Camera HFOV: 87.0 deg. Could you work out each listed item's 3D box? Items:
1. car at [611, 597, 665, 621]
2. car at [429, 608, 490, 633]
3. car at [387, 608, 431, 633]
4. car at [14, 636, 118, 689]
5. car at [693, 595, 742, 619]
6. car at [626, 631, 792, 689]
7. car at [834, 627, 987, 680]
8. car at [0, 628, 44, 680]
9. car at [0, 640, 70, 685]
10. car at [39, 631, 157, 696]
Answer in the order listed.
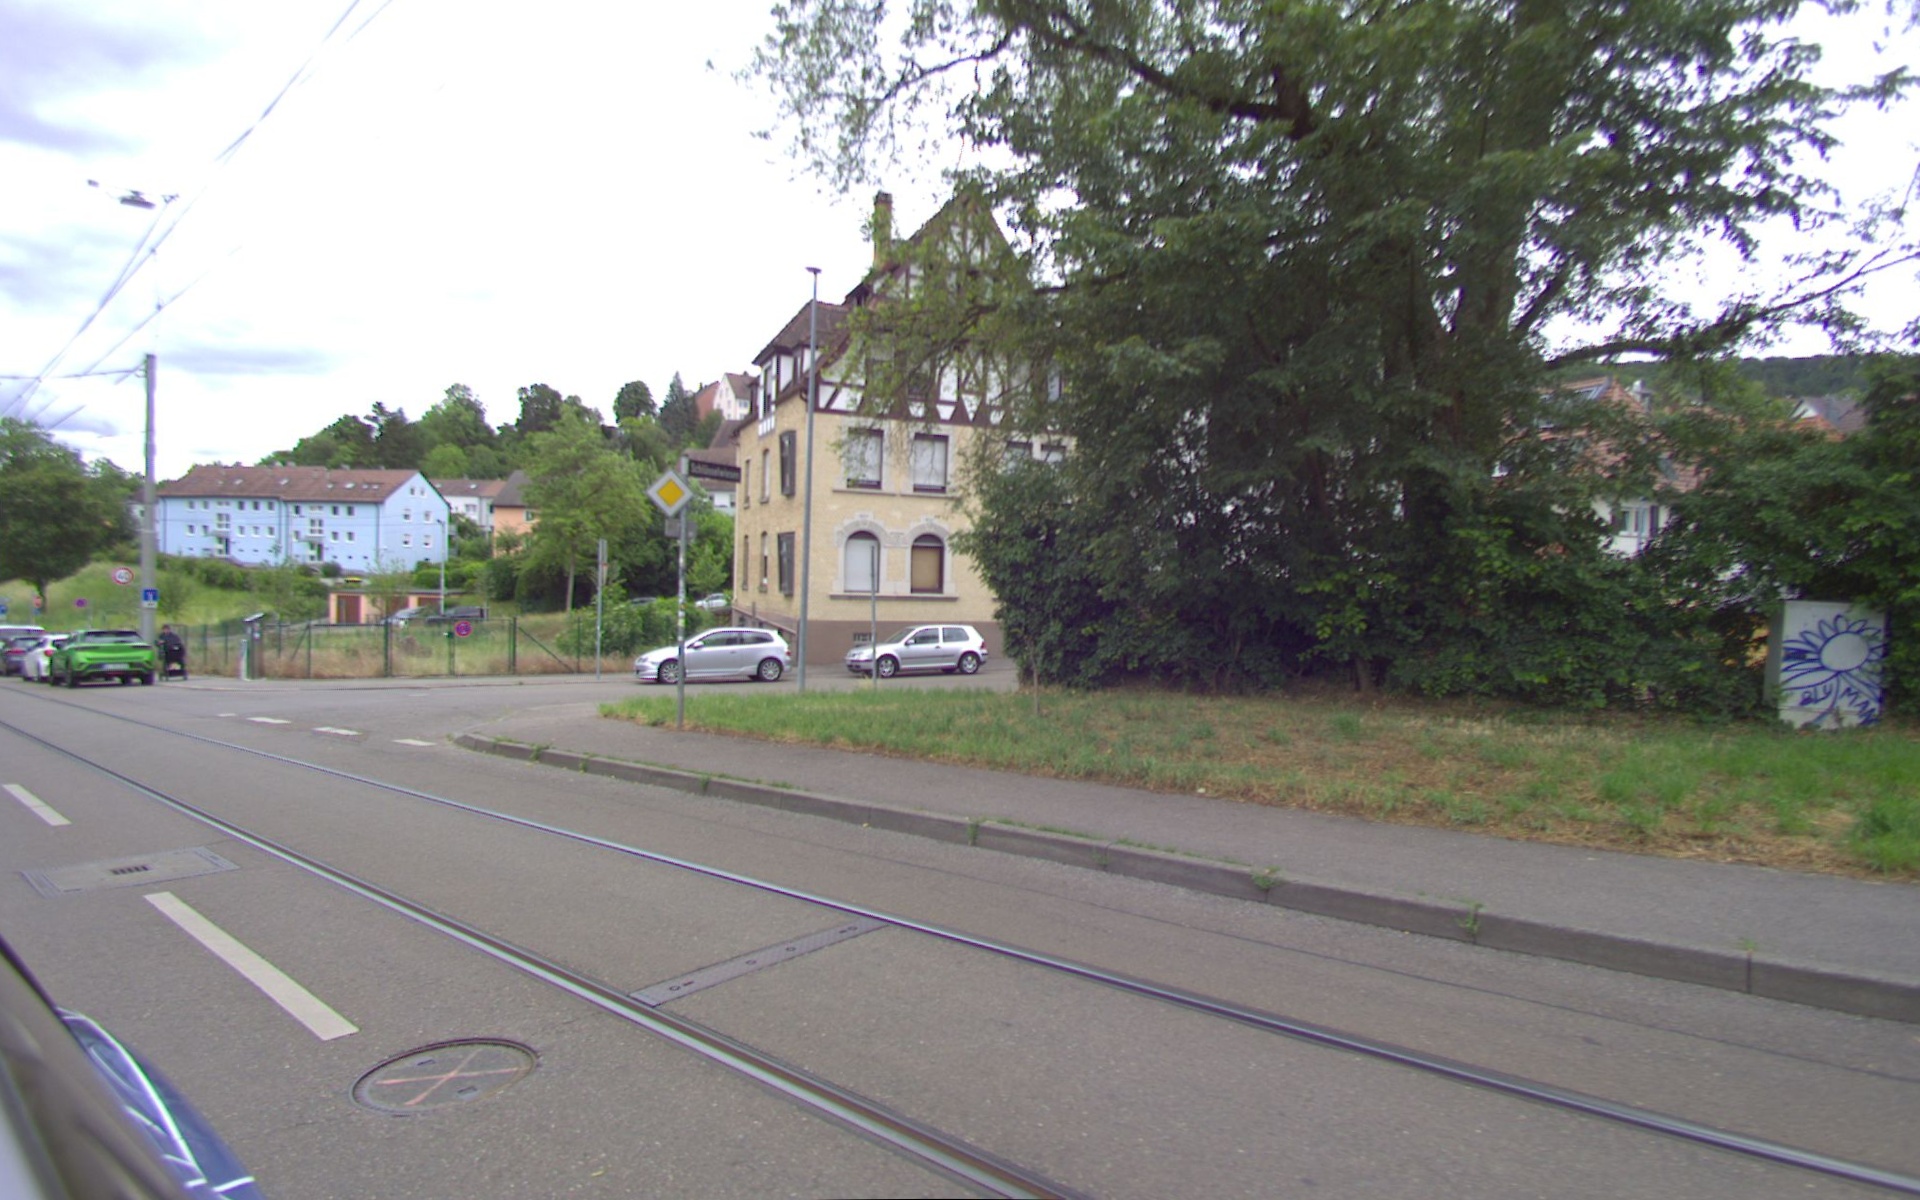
[{"bbox_3d":[-26.530,0.747,83.494,3.935,1.918,2.004,-1,-1,-10],"label":"car"},{"bbox_3d":[-39.936,1.640,80.798,3.935,1.918,2.004,-1,-1,-10],"label":"car"},{"bbox_3d":[-44.237,1.661,81.369,1.967,1.918,4.008,-1,-1,-10],"label":"car"},{"bbox_3d":[-27.185,1.862,30.743,3.946,1.505,1.832,-2,-4,41],"label":"car"},{"bbox_3d":[-20.300,0.631,84.893,3.935,1.918,2.004,-1,-1,-10],"label":"car"},{"bbox_3d":[-6.551,1.519,26.442,3.944,1.388,1.701,0,-2,-25],"label":"car"},{"bbox_3d":[-1.391,1.480,28.573,3.979,1.388,1.701,0,-2,-25],"label":"car"},{"bbox_3d":[-37.644,2.108,39.784,4.288,1.961,1.877,-2,-4,41],"label":"car"},{"bbox_3d":[-33.622,2.214,36.412,3.946,1.505,1.832,-2,-4,41],"label":"car"},{"bbox_3d":[-23.018,1.652,26.992,3.946,1.552,1.832,-3,-2,41],"label":"car"}]
